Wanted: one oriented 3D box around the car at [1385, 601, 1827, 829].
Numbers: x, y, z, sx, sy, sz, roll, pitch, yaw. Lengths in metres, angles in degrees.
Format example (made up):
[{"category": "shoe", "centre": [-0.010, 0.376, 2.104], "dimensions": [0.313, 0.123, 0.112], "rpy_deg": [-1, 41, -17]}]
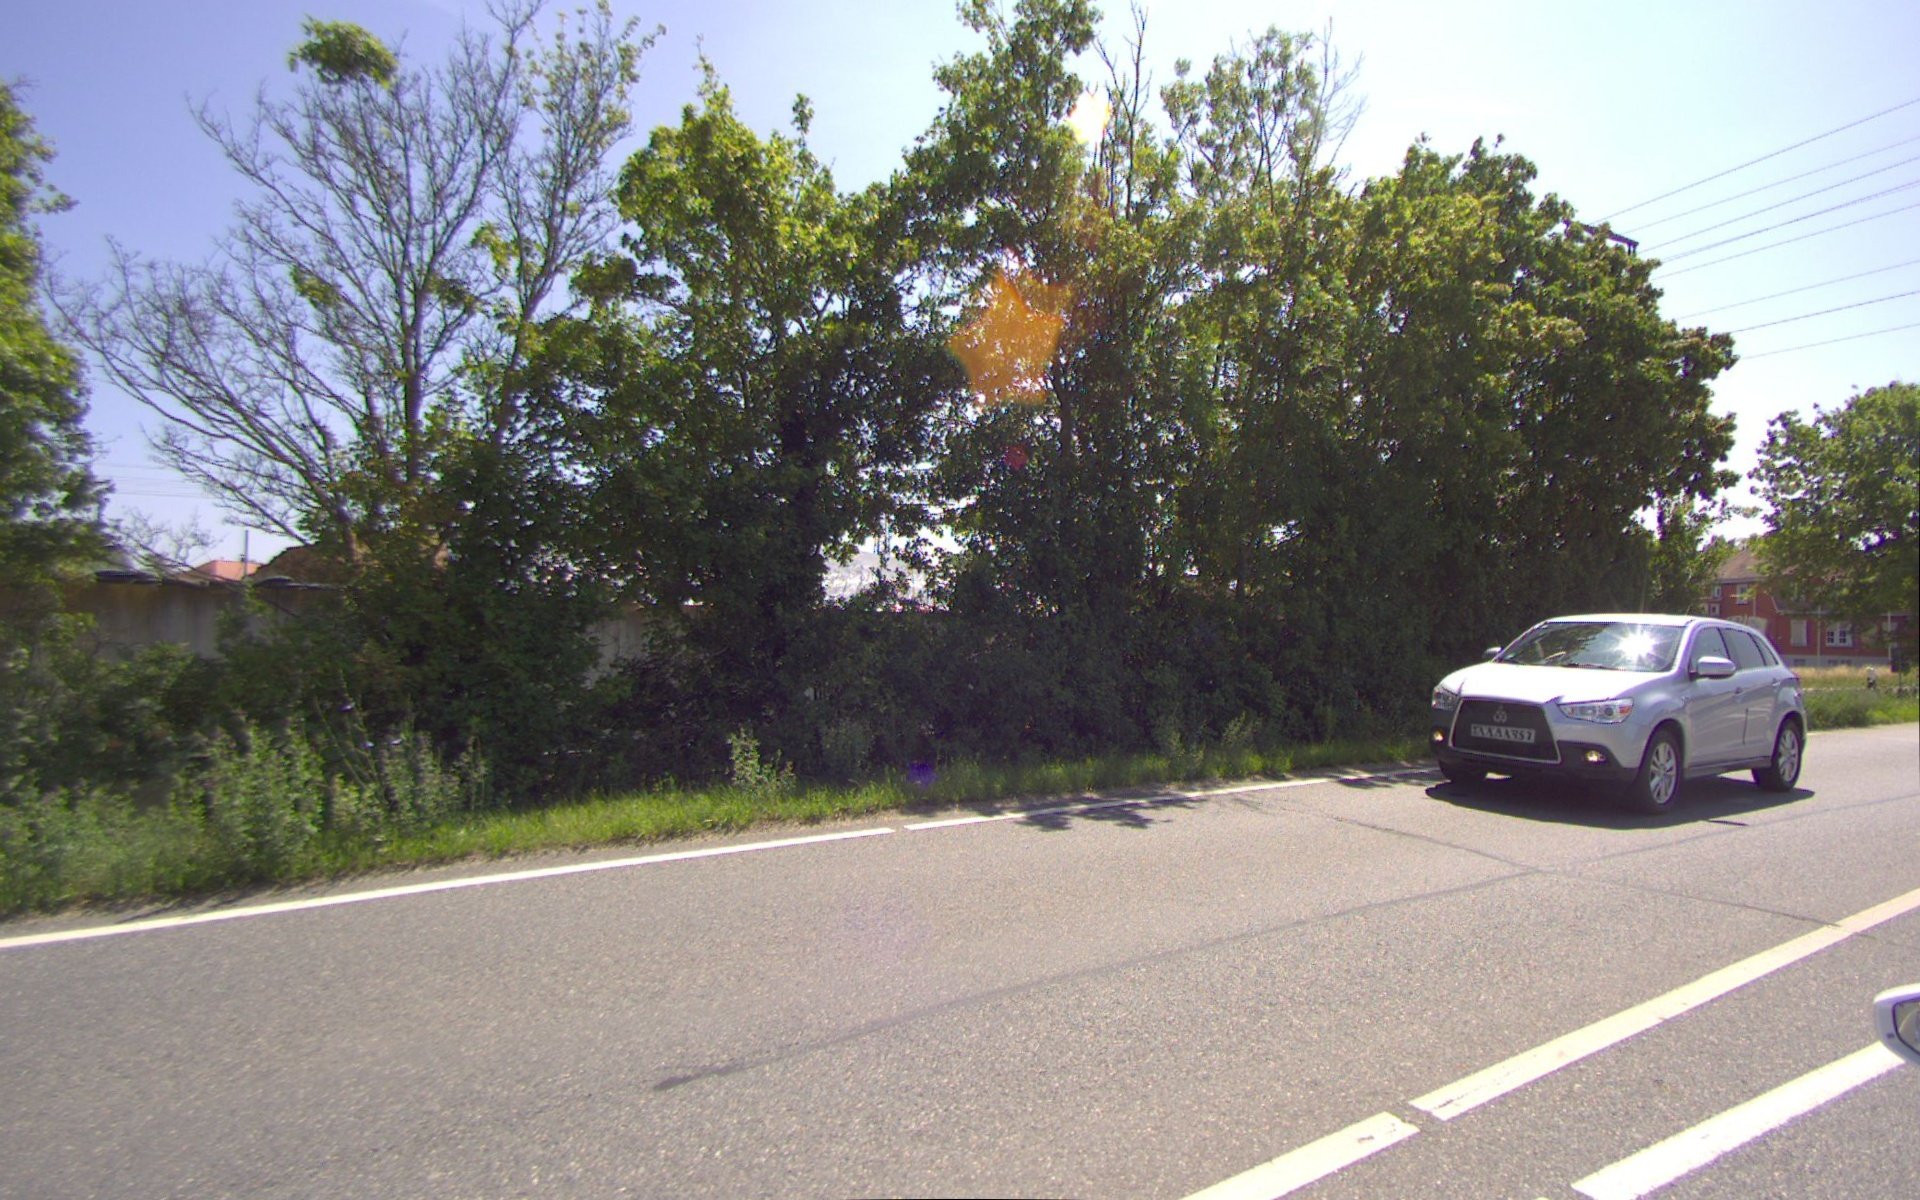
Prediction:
[{"category": "car", "centre": [6.011, 0.889, 9.167], "dimensions": [4.483, 1.610, 1.730], "rpy_deg": [2, 0, -34]}]
